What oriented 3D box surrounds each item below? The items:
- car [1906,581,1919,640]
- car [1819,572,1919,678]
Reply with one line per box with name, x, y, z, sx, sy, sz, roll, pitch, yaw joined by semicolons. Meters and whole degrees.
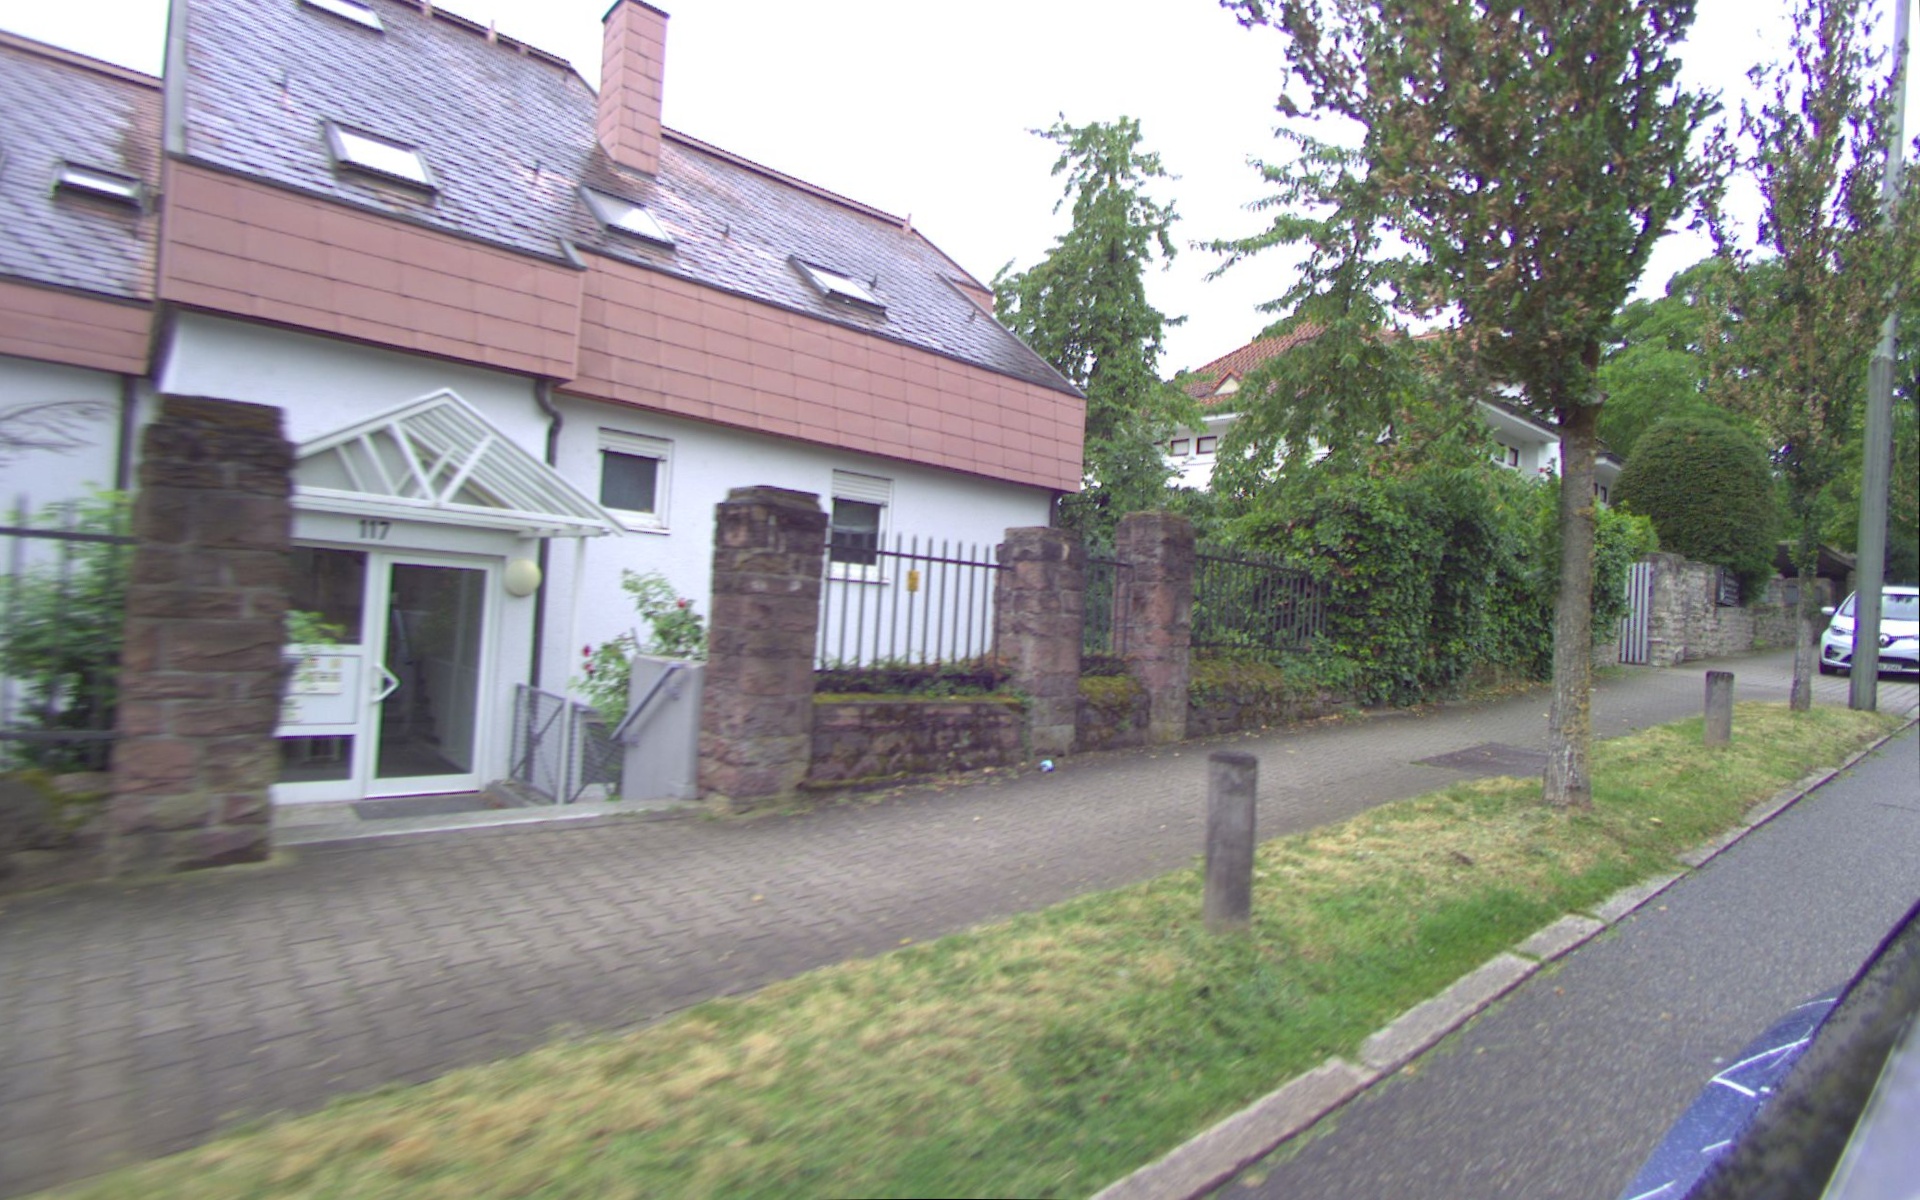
car;27.843;0.378;28.022;4.145;1.587;1.922;2;2;-41
car;16.636;0.388;17.786;3.932;1.649;1.828;-1;3;-42
